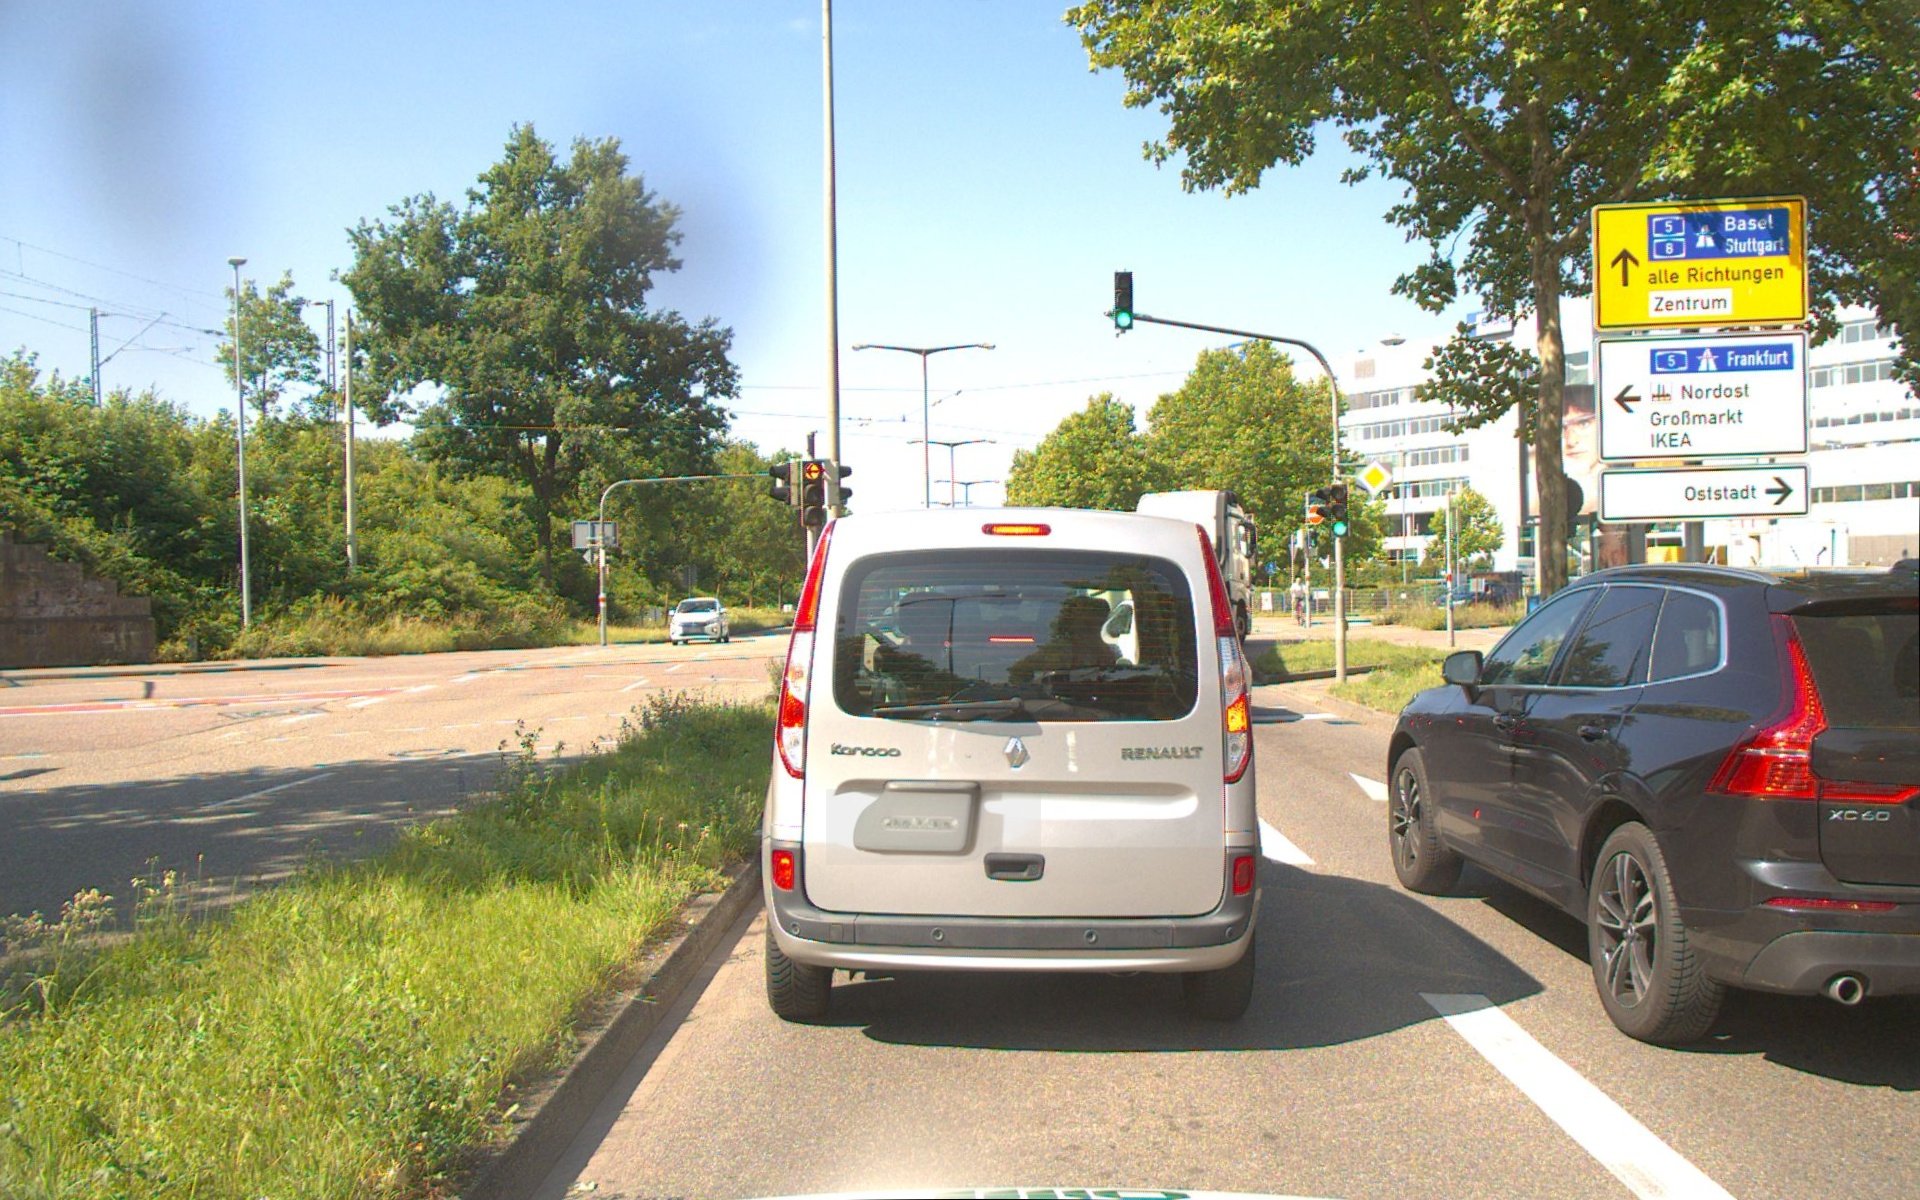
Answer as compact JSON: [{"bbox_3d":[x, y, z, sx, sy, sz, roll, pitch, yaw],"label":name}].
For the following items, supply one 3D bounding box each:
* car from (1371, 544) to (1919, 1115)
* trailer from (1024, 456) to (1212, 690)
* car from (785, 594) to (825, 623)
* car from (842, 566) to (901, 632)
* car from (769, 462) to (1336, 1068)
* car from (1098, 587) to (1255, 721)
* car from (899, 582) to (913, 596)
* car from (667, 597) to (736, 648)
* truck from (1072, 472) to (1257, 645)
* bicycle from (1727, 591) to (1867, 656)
[{"bbox_3d":[3.232,0.675,6.952,1.837,1.619,4.432,1,0,-1],"label":"car"},{"bbox_3d":[3.462,-0.403,32.569,2.838,3.686,12.696,1,0,9],"label":"trailer"},{"bbox_3d":[-9.070,0.497,96.966,1.872,1.670,3.738,-1,0,2],"label":"car"},{"bbox_3d":[-3.682,-0.024,69.524,1.952,2.653,5.135,-1,0,2],"label":"car"},{"bbox_3d":[0.266,0.527,7.187,1.750,1.870,3.999,1,0,-1],"label":"car"},{"bbox_3d":[2.672,0.641,21.005,1.507,1.541,3.259,1,0,-1],"label":"car"},{"bbox_3d":[-8.196,-1.641,250.484,1.849,2.049,4.001,1,0,1],"label":"car"},{"bbox_3d":[-8.537,0.711,54.857,1.665,1.534,3.999,-1,1,-1],"label":"car"},{"bbox_3d":[5.020,-0.870,39.320,2.850,3.707,7.191,1,0,20],"label":"truck"},{"bbox_3d":[13.759,0.388,27.235,1.959,1.031,0.621,-1,0,16],"label":"bicycle"}]
